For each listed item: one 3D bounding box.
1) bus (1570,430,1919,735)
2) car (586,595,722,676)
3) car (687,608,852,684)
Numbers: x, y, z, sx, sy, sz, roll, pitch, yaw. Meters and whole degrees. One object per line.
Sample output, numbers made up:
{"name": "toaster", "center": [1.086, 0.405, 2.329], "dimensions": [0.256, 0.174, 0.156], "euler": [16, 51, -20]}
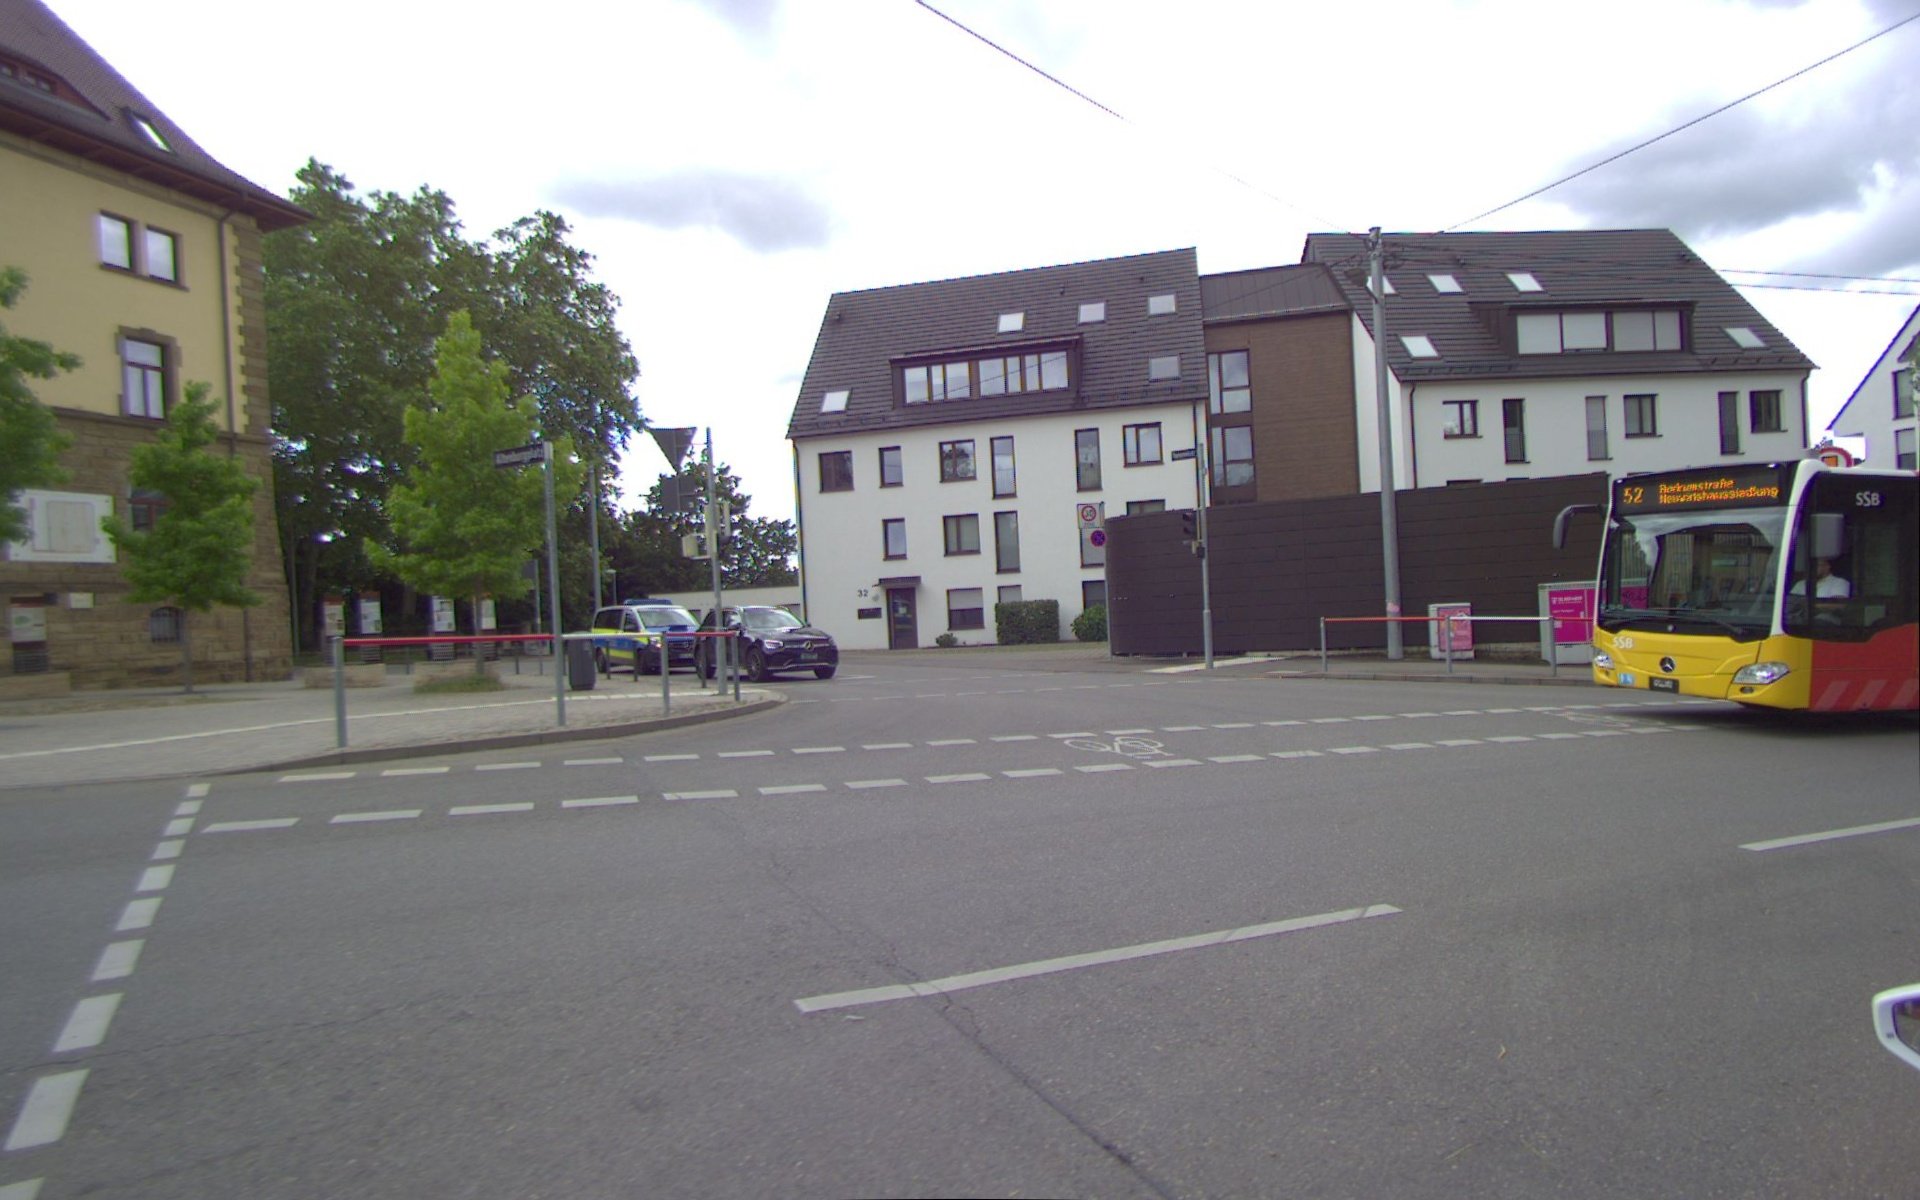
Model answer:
{"name": "bus", "center": [12.998, -0.222, 12.863], "dimensions": [9.847, 3.164, 2.659], "euler": [0, 1, -13]}
{"name": "car", "center": [-8.559, 0.967, 27.793], "dimensions": [1.982, 2.040, 5.037], "euler": [0, -2, -38]}
{"name": "car", "center": [-4.406, 1.003, 22.722], "dimensions": [1.982, 1.533, 4.228], "euler": [0, -2, -38]}
